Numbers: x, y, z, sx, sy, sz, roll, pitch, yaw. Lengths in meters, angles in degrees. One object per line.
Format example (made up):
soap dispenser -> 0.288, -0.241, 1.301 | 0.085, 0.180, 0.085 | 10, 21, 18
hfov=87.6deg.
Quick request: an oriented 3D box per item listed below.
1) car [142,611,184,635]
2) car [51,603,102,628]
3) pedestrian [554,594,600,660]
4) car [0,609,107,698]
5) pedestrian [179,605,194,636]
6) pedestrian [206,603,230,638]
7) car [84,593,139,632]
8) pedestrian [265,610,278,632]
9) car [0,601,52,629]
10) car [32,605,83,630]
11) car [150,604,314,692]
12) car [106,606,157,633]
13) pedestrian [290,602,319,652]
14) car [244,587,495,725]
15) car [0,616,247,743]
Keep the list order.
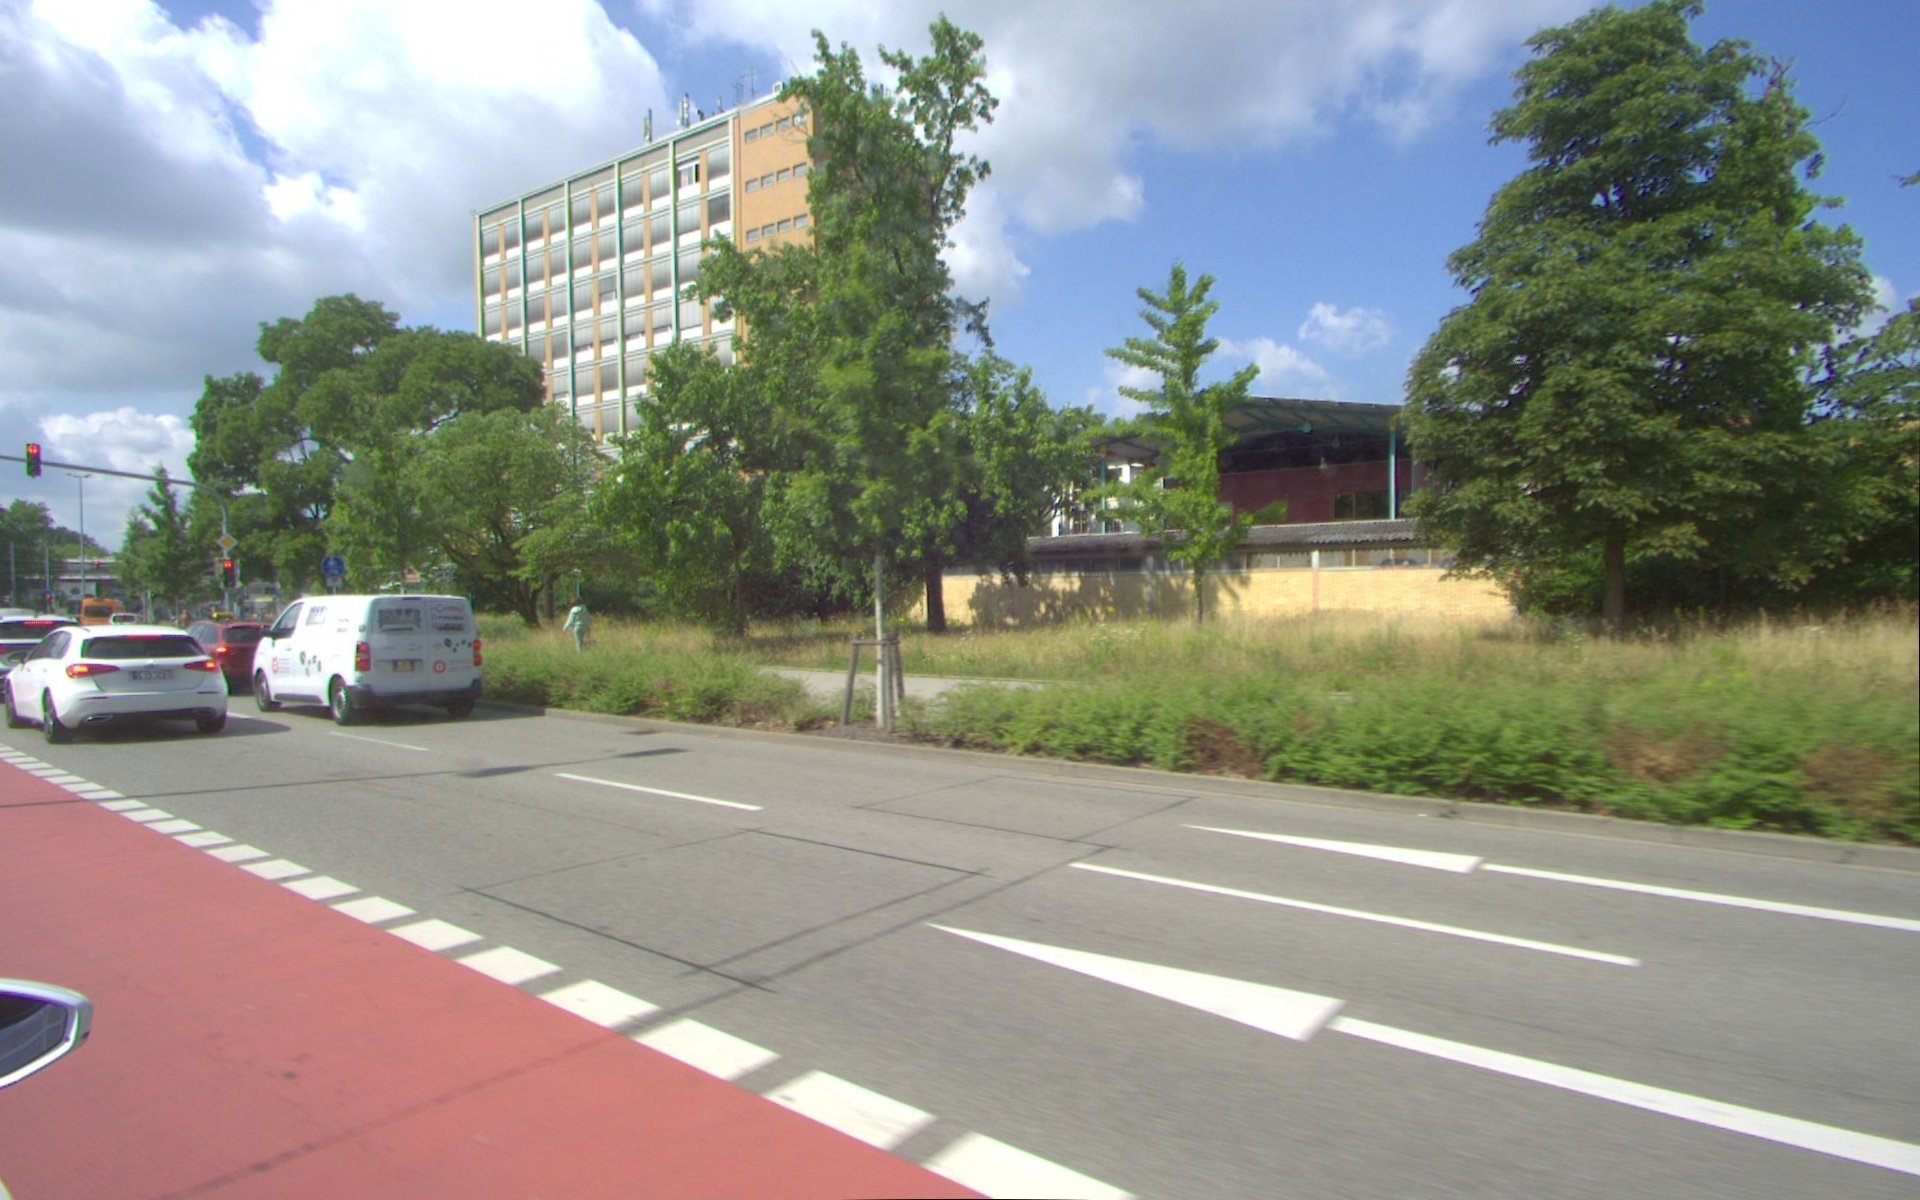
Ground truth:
car -> -69.455, 1.973, 87.336 | 1.968, 1.964, 4.617 | -1, 0, -28
car -> -68.241, 1.171, 77.412 | 1.969, 1.851, 3.983 | -1, 0, -26
pedestrian -> -9.935, 0.684, 25.965 | 0.712, 1.660, 0.864 | 0, 1, 40
car -> -18.051, 0.972, 19.280 | 3.962, 1.559, 1.784 | 0, -1, 39
pedestrian -> -44.551, 1.169, 57.702 | 0.655, 1.756, 0.573 | -1, 1, -40
pedestrian -> -33.161, 0.907, 44.746 | 0.546, 1.528, 0.765 | 0, 1, 43
car -> -63.747, 0.953, 75.310 | 2.104, 2.818, 4.617 | -1, 0, -28
pedestrian -> -57.005, 1.737, 82.941 | 0.778, 1.808, 0.664 | -1, 1, -25
car -> -71.459, 1.130, 76.468 | 1.982, 1.993, 4.617 | -1, 0, -28
car -> -75.578, 1.432, 83.924 | 1.968, 1.964, 4.617 | -1, 0, -28
car -> -15.311, 0.931, 20.977 | 4.407, 1.663, 1.674 | 0, 0, 38
car -> -57.762, 1.337, 69.876 | 1.970, 1.819, 3.981 | -1, 0, -28
pedestrian -> -23.502, 0.973, 35.921 | 0.672, 1.758, 0.738 | 0, 1, 45
car -> -9.586, 0.780, 16.088 | 4.766, 1.895, 1.934 | 0, 0, 39
car -> -11.736, 0.971, 13.912 | 4.331, 1.443, 1.896 | 0, 0, 39
